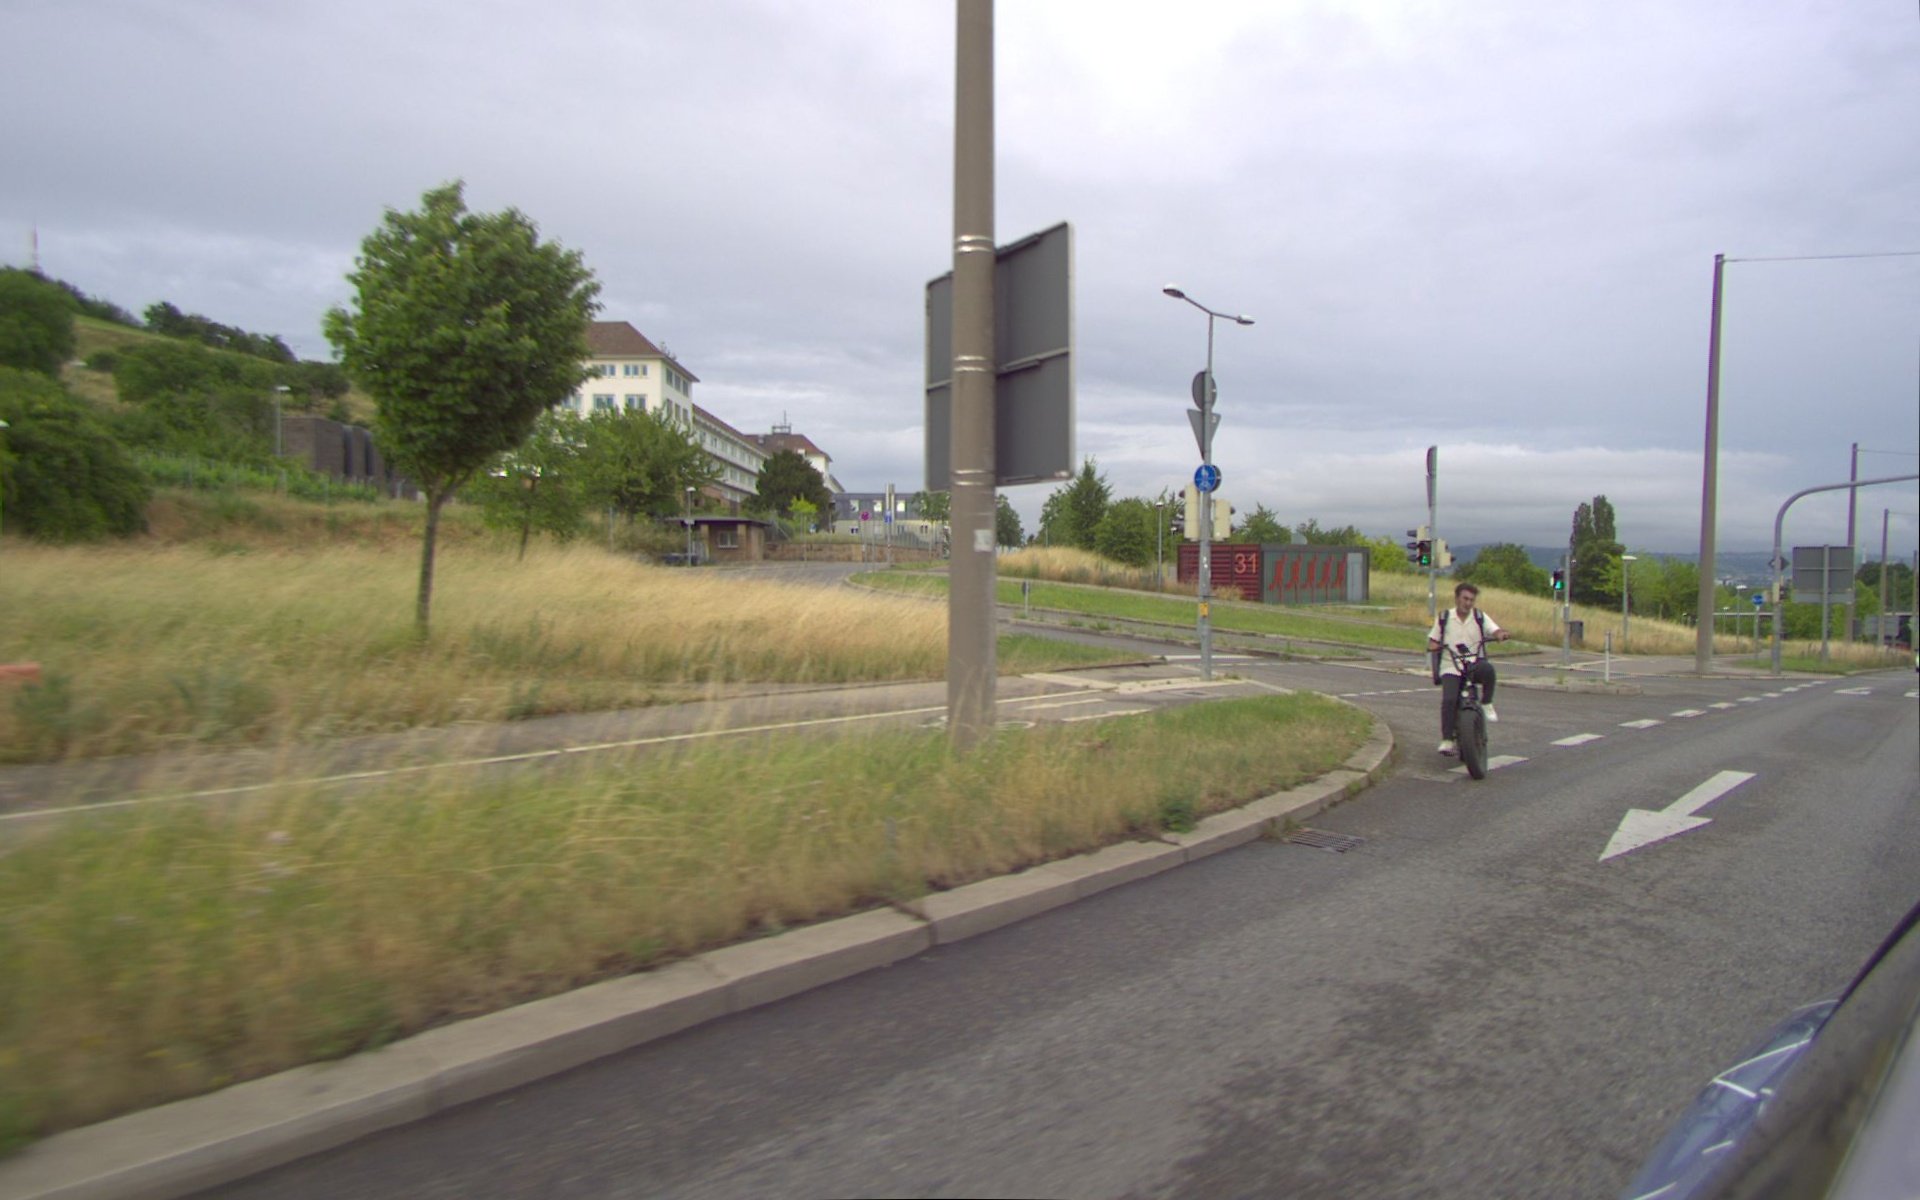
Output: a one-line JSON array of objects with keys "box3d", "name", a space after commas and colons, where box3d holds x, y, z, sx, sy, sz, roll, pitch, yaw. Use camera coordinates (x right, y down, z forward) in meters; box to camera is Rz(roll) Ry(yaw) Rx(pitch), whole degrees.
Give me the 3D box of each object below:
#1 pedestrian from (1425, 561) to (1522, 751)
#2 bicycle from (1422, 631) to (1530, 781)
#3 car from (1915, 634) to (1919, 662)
[{"box3d": [4.593, 0.469, 9.102, 0.627, 1.590, 0.889, 2, 1, 21], "name": "pedestrian"}, {"box3d": [4.559, 0.879, 9.045, 0.627, 1.119, 1.741, 2, 1, 21], "name": "bicycle"}, {"box3d": [61.785, 3.008, 64.020, 3.756, 1.560, 1.839, -2, 0, -44], "name": "car"}]
